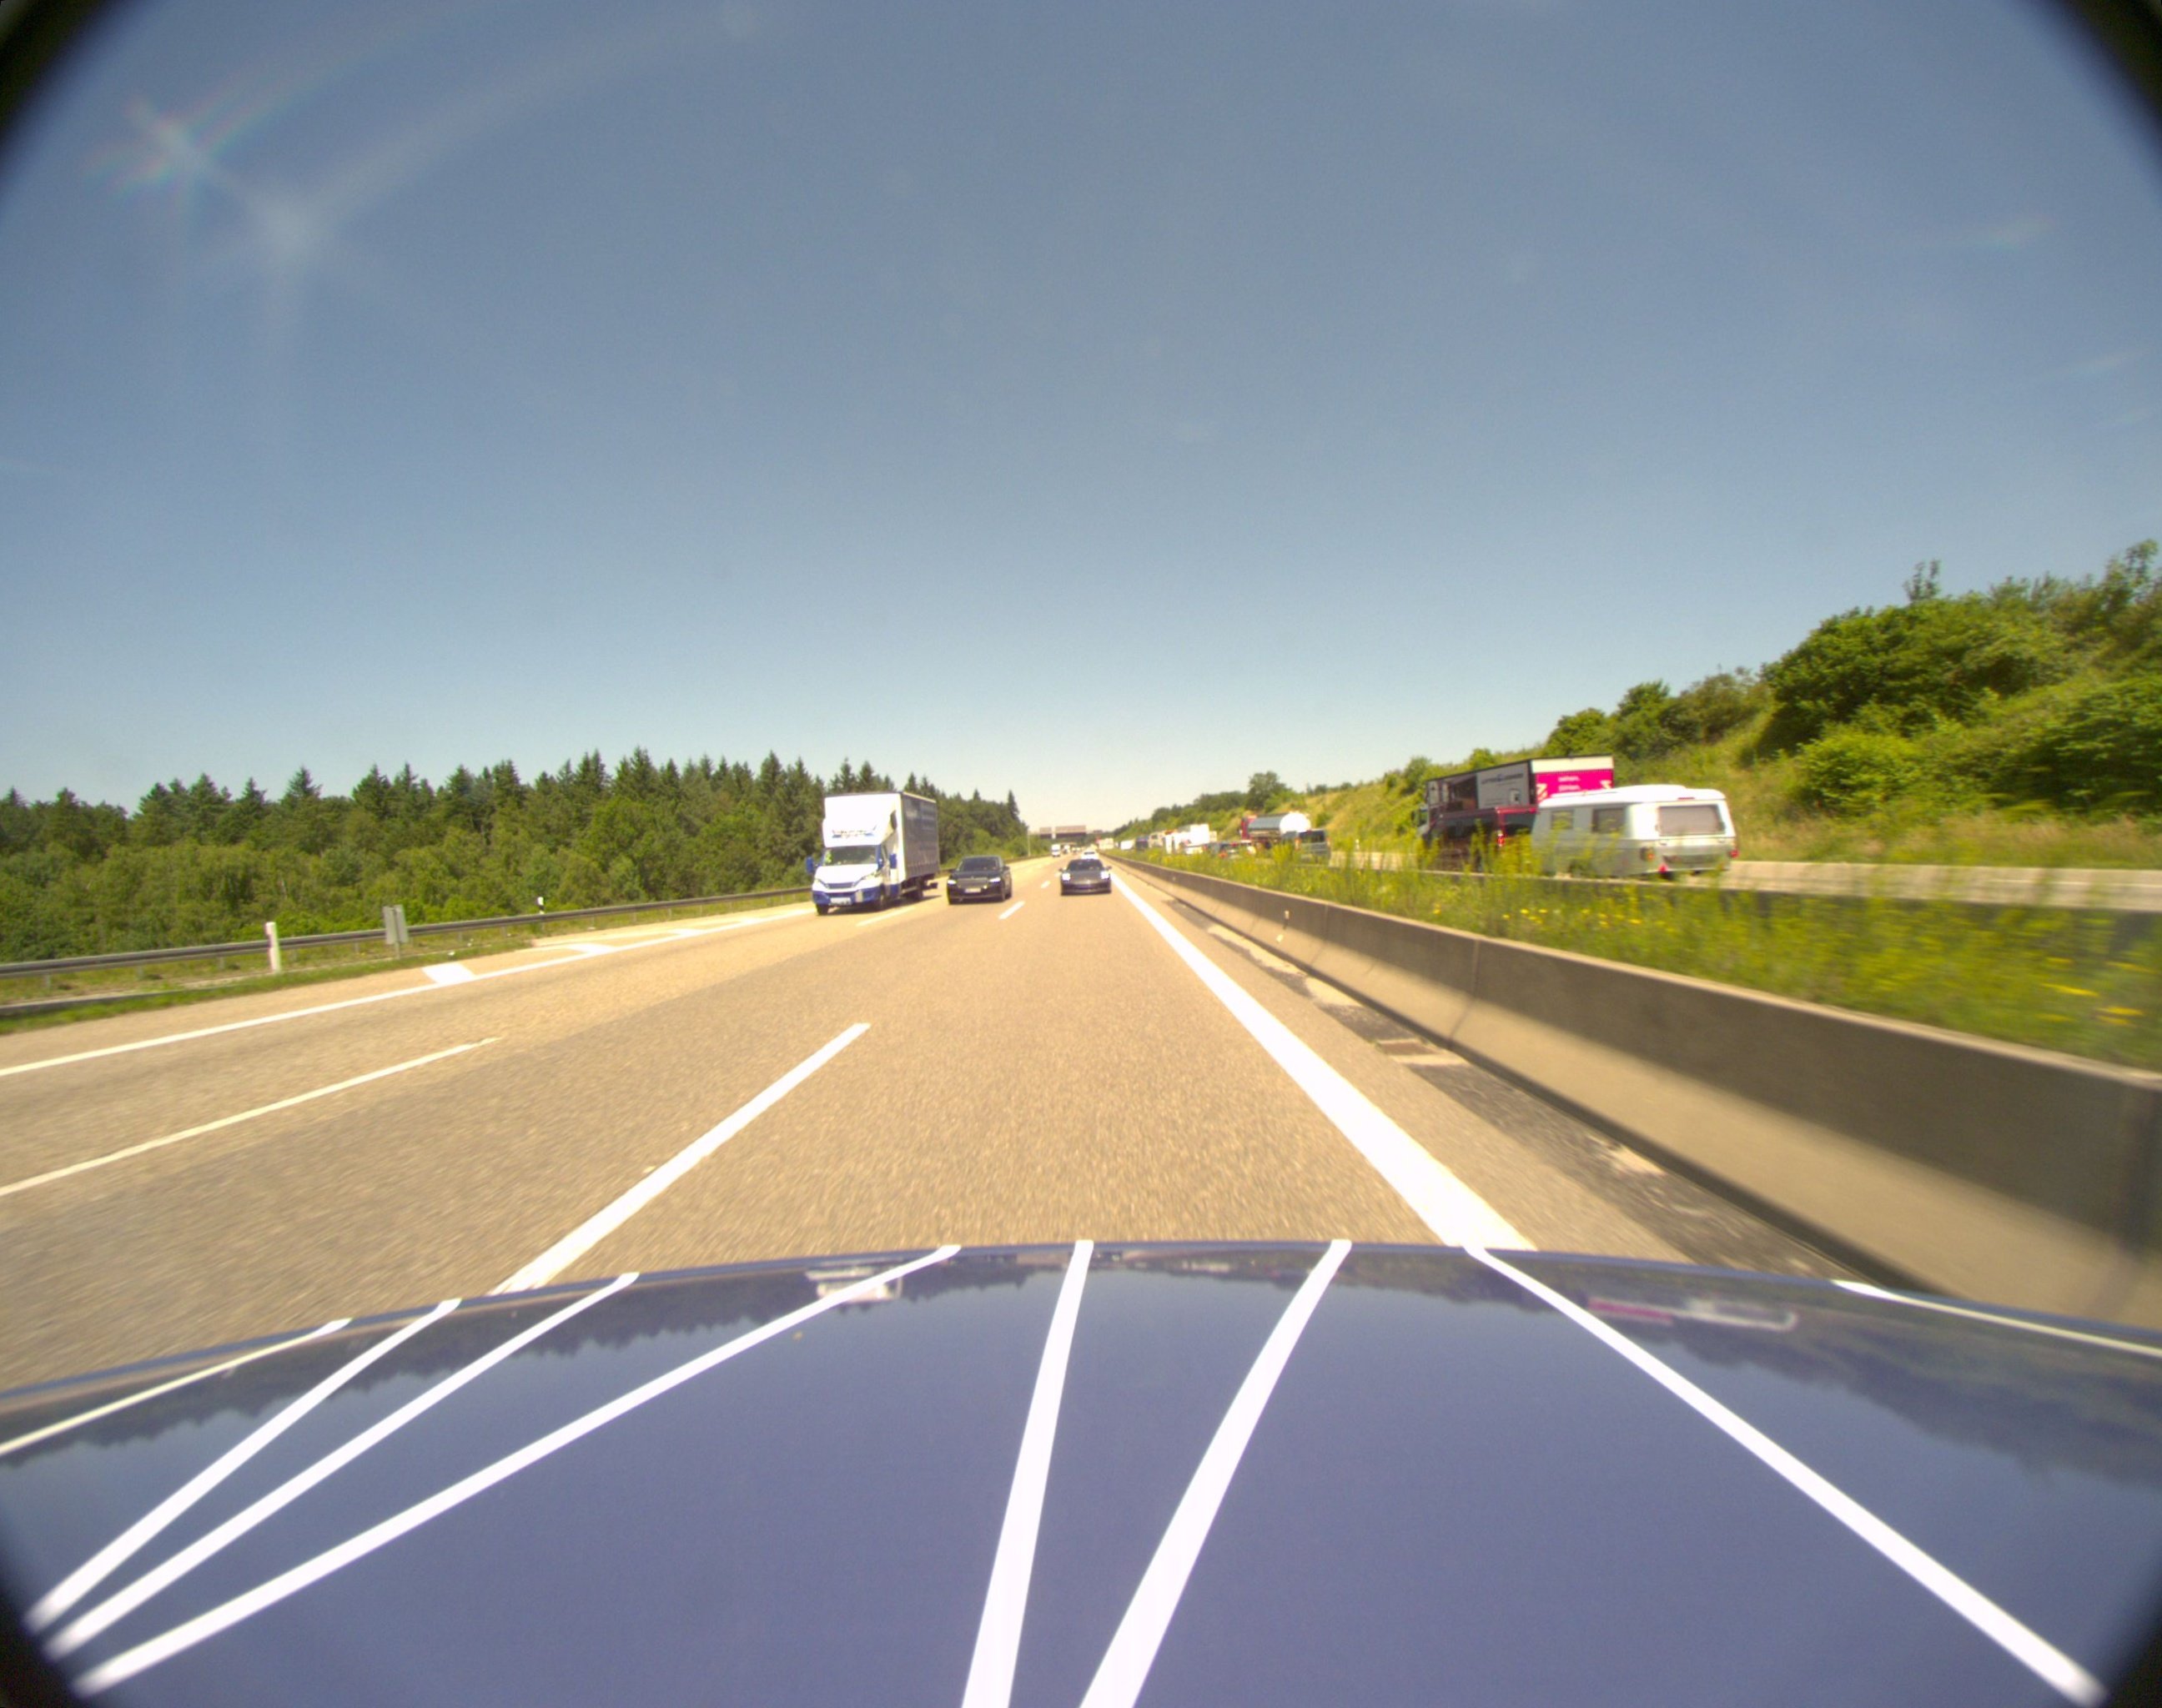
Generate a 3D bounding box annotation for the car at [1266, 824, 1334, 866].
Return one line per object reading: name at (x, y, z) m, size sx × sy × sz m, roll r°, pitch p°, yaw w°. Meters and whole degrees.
car at (11.414, -0.486, 39.917) m, size 2.028 × 1.947 × 5.093 m, roll -4°, pitch 1°, yaw 1°

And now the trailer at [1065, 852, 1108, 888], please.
trailer at (0.240, 0.640, 32.212) m, size 1.689 × 1.399 × 3.046 m, roll -3°, pitch 1°, yaw 1°

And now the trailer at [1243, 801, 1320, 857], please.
trailer at (15.862, -1.938, 61.361) m, size 2.686 × 3.928 × 12.271 m, roll -4°, pitch 1°, yaw 0°

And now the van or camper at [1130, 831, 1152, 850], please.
van or camper at (8.406, -1.923, 106.576) m, size 2.303 × 2.421 × 7.281 m, roll -4°, pitch 1°, yaw 0°

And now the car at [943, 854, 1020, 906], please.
car at (-3.392, 0.855, 26.739) m, size 1.989 × 1.609 × 4.457 m, roll -2°, pitch 0°, yaw 1°

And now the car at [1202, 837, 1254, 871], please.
car at (7.644, -0.065, 39.984) m, size 1.758 × 1.575 × 4.853 m, roll -4°, pitch 1°, yaw 1°

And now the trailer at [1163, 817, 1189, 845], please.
trailer at (16.003, -3.880, 128.907) m, size 2.618 × 4.286 × 11.997 m, roll -5°, pitch 1°, yaw 0°

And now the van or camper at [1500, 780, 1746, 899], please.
van or camper at (11.520, -0.328, 16.666) m, size 1.998 × 2.141 × 4.716 m, roll -2°, pitch 1°, yaw 0°

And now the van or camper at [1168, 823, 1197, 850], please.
van or camper at (12.276, -2.119, 92.435) m, size 2.551 × 2.920 × 8.129 m, roll -4°, pitch 1°, yaw 2°

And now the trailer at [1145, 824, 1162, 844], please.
trailer at (16.594, -4.610, 174.764) m, size 2.796 × 4.216 × 10.789 m, roll -5°, pitch 1°, yaw 1°

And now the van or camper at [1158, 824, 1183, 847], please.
van or camper at (12.224, -2.510, 104.067) m, size 2.551 × 2.920 × 7.826 m, roll -4°, pitch 1°, yaw 2°

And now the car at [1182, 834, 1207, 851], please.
car at (11.972, -1.265, 80.475) m, size 1.887 × 1.618 × 4.357 m, roll -4°, pitch 1°, yaw 1°

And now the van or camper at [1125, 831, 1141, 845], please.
van or camper at (12.299, -3.791, 180.183) m, size 2.849 × 2.932 × 8.110 m, roll -5°, pitch 1°, yaw 1°

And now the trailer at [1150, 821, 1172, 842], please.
trailer at (16.054, -4.526, 153.390) m, size 2.788 × 4.011 × 12.247 m, roll -5°, pitch 1°, yaw 0°

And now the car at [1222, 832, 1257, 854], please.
car at (12.081, -0.836, 57.960) m, size 1.758 × 1.541 × 4.188 m, roll -3°, pitch 1°, yaw 0°

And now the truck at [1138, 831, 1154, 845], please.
truck at (12.402, -2.996, 145.509) m, size 2.240 × 2.491 × 6.860 m, roll -4°, pitch 1°, yaw 0°

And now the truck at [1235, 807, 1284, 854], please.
truck at (15.833, -2.064, 67.824) m, size 2.790 × 3.802 × 6.030 m, roll -5°, pitch 2°, yaw 1°

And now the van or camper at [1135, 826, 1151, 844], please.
van or camper at (12.321, -3.784, 151.284) m, size 2.318 × 3.371 × 7.677 m, roll -4°, pitch 1°, yaw 0°

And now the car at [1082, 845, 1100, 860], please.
car at (1.004, -0.192, 80.941) m, size 1.719 × 1.432 × 4.455 m, roll -4°, pitch 1°, yaw -1°

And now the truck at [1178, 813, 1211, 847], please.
truck at (15.949, -3.352, 107.379) m, size 2.527 × 4.301 × 12.418 m, roll -5°, pitch 1°, yaw 0°

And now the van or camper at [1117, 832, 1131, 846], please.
van or camper at (8.432, -2.979, 149.080) m, size 2.198 × 2.526 × 6.414 m, roll -4°, pitch 1°, yaw 0°

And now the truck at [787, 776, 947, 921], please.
truck at (-7.153, -0.275, 27.250) m, size 2.790 × 4.105 × 9.736 m, roll -3°, pitch 1°, yaw -1°

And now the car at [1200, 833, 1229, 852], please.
car at (12.002, -1.072, 68.664) m, size 1.758 × 1.575 × 4.784 m, roll -4°, pitch 1°, yaw 1°

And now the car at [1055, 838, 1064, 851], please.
car at (-5.930, -2.626, 211.682) m, size 2.303 × 3.318 × 7.619 m, roll -5°, pitch 1°, yaw -2°

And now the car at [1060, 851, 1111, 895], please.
car at (0.196, 0.670, 28.946) m, size 1.718 × 1.431 × 4.457 m, roll -4°, pitch 0°, yaw 1°

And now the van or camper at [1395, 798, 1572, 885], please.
van or camper at (11.518, -0.384, 22.395) m, size 1.998 × 2.141 × 5.953 m, roll -2°, pitch 1°, yaw 0°

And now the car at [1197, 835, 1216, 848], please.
car at (15.554, -1.614, 94.524) m, size 1.698 × 1.488 × 3.926 m, roll -4°, pitch 1°, yaw 1°

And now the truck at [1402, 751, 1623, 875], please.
truck at (15.396, -1.382, 28.365) m, size 2.551 × 3.654 × 9.935 m, roll -4°, pitch 1°, yaw 1°
